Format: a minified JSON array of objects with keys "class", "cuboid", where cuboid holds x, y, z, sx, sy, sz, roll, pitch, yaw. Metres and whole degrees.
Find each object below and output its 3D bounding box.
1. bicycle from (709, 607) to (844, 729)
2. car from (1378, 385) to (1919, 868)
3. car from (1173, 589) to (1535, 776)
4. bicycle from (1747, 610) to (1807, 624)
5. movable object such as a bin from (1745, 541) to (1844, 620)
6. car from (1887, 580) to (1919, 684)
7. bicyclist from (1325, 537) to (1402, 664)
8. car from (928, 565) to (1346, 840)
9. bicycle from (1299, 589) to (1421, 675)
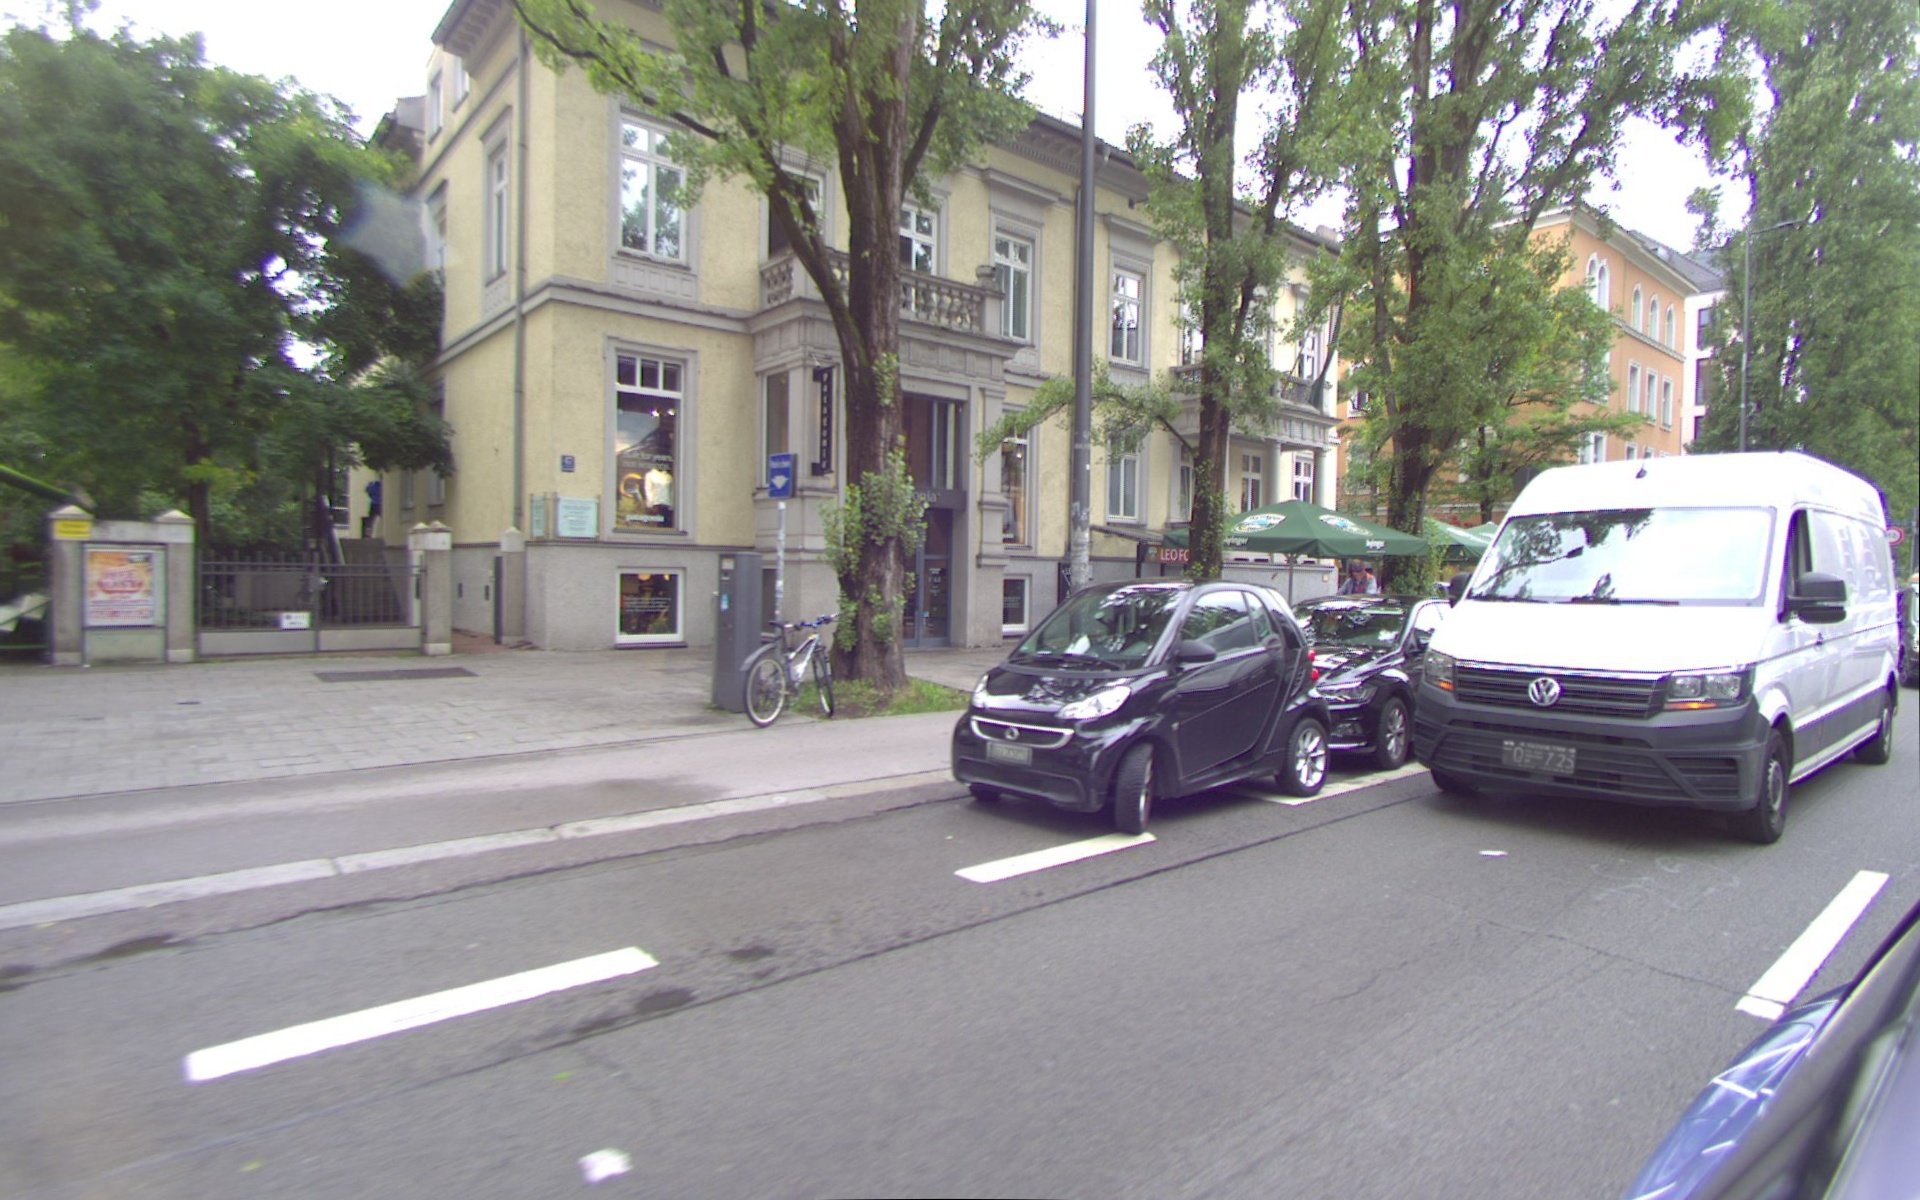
[{"class":"bicycle","cuboid":[-1.721,0.604,9.723,0.504,1.006,1.616,1,1,21]},{"class":"car","cuboid":[6.021,0.106,8.232,6.611,2.524,2.067,0,1,-41]},{"class":"car","cuboid":[3.986,0.602,9.827,4.273,1.411,1.710,-1,1,-45]},{"class":"bicycle","cuboid":[30.177,0.625,37.375,1.671,0.378,0.818,4,3,42]},{"class":"movable object such as a bin","cuboid":[36.120,-0.861,43.782,4.463,3.175,2.445,0,3,-41]},{"class":"car","cuboid":[16.786,0.485,16.741,1.875,1.611,4.133,1,1,39]},{"class":"bicyclist","cuboid":[5.867,-0.009,14.735,0.829,1.779,0.656,2,1,45]},{"class":"car","cuboid":[1.310,0.559,7.154,2.682,1.537,1.595,0,0,-41]},{"class":"bicycle","cuboid":[5.836,0.421,14.715,2.068,1.134,0.885,0,2,-45]}]
